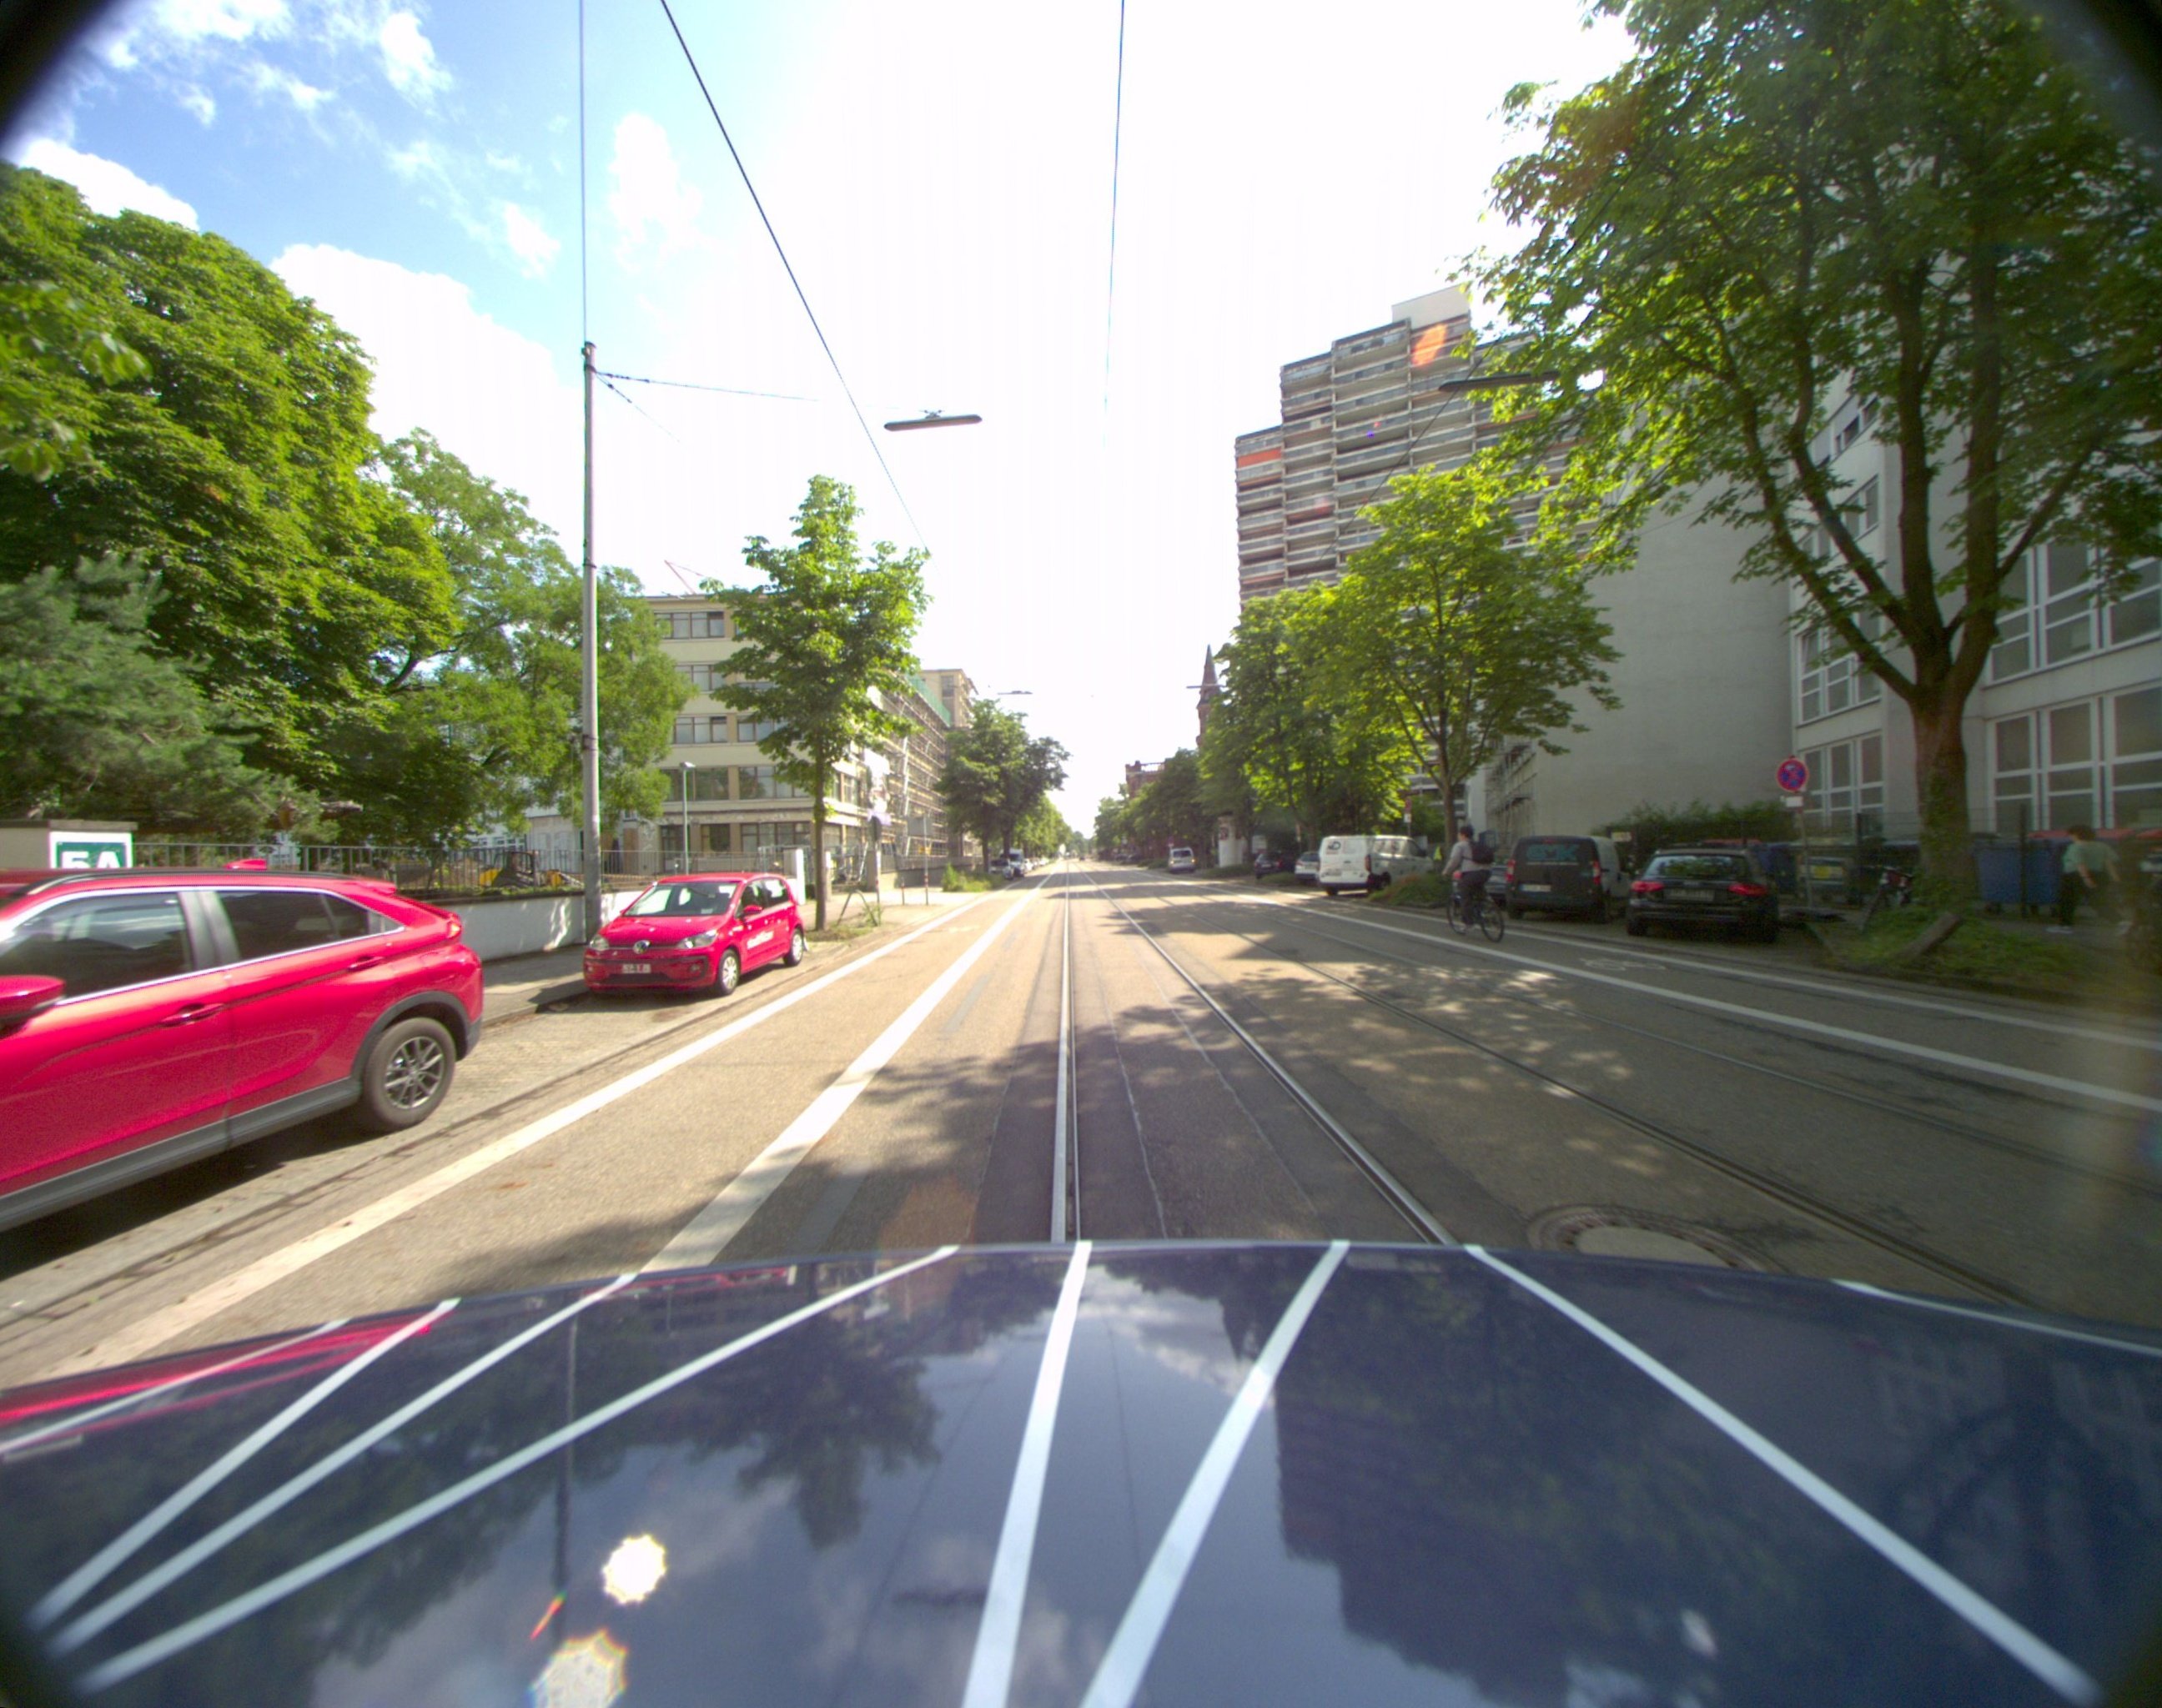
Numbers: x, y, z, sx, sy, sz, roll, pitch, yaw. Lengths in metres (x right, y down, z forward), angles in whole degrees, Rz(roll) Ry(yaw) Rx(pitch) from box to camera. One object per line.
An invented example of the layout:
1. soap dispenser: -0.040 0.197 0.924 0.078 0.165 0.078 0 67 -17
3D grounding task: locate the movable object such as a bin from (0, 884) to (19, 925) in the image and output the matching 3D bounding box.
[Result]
1. movable object such as a bin: -33.963 1.572 23.404 0.997 1.258 1.258 -1 0 24

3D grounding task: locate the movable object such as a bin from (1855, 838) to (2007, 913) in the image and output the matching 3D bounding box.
1. movable object such as a bin: 15.814 0.374 14.194 1.167 1.320 1.441 1 1 -2

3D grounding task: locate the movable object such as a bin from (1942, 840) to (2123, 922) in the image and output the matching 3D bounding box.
1. movable object such as a bin: 15.855 0.424 12.724 1.171 1.276 1.441 1 1 -2

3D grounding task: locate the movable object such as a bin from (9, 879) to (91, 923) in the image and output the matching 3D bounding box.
1. movable object such as a bin: -33.502 1.492 24.705 1.091 1.344 1.369 -1 0 24

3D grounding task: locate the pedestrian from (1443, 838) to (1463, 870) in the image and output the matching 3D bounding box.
1. pedestrian: 19.798 -0.003 40.431 0.642 1.615 0.661 -3 2 -9

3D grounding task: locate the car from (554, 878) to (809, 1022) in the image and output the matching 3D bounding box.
1. car: -5.122 1.137 10.336 1.604 1.420 3.595 -1 1 -2

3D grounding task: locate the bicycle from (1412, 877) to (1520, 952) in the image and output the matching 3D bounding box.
1. bicycle: 6.195 0.935 12.357 0.657 1.034 2.000 -1 1 -3

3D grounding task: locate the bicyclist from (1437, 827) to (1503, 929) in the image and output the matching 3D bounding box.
1. bicyclist: 6.194 0.362 12.120 0.643 1.567 0.741 -1 1 -3

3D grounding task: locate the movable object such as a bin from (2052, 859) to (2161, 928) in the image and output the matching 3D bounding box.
1. movable object such as a bin: 15.828 0.584 11.530 0.967 0.981 0.934 1 1 -2

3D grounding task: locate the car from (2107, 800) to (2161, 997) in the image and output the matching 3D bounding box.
1. car: 10.771 0.436 6.211 1.911 1.943 5.179 1 1 43

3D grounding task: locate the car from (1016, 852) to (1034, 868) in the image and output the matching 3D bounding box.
1. car: -6.269 0.608 85.714 1.750 1.597 4.235 -5 1 -2

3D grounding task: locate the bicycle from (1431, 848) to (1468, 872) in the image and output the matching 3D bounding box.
1. bicycle: 18.076 0.310 37.298 1.577 1.114 0.543 -2 -2 23

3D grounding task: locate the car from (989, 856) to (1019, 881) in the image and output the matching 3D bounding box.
1. car: -5.618 1.039 55.685 1.750 1.597 4.235 -5 1 -2

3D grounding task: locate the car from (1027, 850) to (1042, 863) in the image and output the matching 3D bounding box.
1. car: -6.534 0.369 106.940 1.750 1.597 4.235 -5 1 -2

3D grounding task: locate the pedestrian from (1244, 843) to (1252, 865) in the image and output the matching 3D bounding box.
1. pedestrian: 14.006 0.011 63.735 0.524 1.745 0.635 -3 3 6

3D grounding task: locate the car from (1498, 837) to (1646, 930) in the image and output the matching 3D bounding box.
1. car: 10.214 0.536 15.700 3.723 1.683 1.755 0 1 -44

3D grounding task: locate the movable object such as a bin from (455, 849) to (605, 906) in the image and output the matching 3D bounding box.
1. movable object such as a bin: -25.030 1.081 34.798 5.443 2.429 1.995 1 -2 -33

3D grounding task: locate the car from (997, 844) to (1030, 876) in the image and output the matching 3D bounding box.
1. car: -5.811 0.473 65.995 2.337 2.545 5.388 -5 1 -2

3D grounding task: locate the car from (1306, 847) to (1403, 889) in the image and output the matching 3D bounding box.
1. car: 10.669 0.513 29.488 4.179 1.441 1.817 -2 0 -43

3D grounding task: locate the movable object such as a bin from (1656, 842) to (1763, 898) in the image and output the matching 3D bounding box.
1. movable object such as a bin: 15.952 0.387 19.357 1.391 1.356 1.538 1 1 -5

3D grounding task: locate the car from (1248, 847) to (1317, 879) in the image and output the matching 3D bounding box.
1. car: 10.372 0.444 38.983 1.737 1.514 3.893 -2 0 43

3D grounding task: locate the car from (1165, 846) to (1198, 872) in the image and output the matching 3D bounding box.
1. car: 7.920 0.370 60.315 1.892 1.841 4.235 -5 1 -1

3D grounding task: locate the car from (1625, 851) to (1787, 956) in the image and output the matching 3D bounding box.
1. car: 10.244 0.668 12.337 1.755 1.409 4.009 1 1 43

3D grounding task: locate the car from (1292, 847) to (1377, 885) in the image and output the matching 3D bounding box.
1. car: 10.912 0.489 32.566 1.817 1.492 4.201 -1 0 43

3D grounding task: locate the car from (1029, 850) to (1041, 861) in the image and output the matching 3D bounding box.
1. car: -7.342 0.266 121.385 1.750 1.597 4.235 -5 1 -2

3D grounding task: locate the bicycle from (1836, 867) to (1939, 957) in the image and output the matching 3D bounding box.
1. bicycle: 11.387 0.770 10.717 2.004 1.112 0.582 -2 1 -31

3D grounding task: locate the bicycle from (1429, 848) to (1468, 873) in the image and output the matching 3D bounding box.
1. bicycle: 17.309 0.315 35.825 1.577 1.155 0.543 -2 -2 23

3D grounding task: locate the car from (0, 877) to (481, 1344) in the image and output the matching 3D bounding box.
1. car: -5.002 1.002 3.077 1.881 1.666 4.280 0 0 -3

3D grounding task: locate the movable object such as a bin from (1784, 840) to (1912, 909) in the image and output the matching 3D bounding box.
1. movable object such as a bin: 16.159 0.413 16.069 1.196 1.372 1.441 1 1 -4

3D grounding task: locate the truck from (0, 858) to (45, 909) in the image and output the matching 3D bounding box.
1. truck: -60.460 1.681 40.037 1.997 2.761 6.564 -3 0 13

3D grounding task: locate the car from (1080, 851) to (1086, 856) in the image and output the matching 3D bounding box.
1. car: 0.626 -0.239 254.236 1.892 1.635 4.235 -2 0 -3

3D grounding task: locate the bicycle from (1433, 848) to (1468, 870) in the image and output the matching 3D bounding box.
1. bicycle: 18.967 0.253 39.008 1.577 1.086 0.543 -2 -2 23

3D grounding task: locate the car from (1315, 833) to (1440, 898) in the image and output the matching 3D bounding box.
1. car: 9.954 0.319 25.307 4.695 1.986 1.963 -2 0 -42

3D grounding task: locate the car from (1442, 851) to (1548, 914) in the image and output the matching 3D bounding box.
1. car: 10.590 0.647 19.291 1.717 1.409 4.009 1 0 38

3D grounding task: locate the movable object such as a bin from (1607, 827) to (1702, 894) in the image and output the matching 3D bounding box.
1. movable object such as a bin: 15.878 0.175 21.103 1.391 1.771 1.538 1 1 -5

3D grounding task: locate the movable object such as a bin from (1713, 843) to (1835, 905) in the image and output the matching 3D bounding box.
1. movable object such as a bin: 16.097 0.429 17.708 1.391 1.356 1.538 1 1 -5

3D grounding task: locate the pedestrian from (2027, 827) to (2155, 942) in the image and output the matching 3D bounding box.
1. pedestrian: 14.389 0.416 10.852 0.645 1.567 0.881 -1 1 -4
